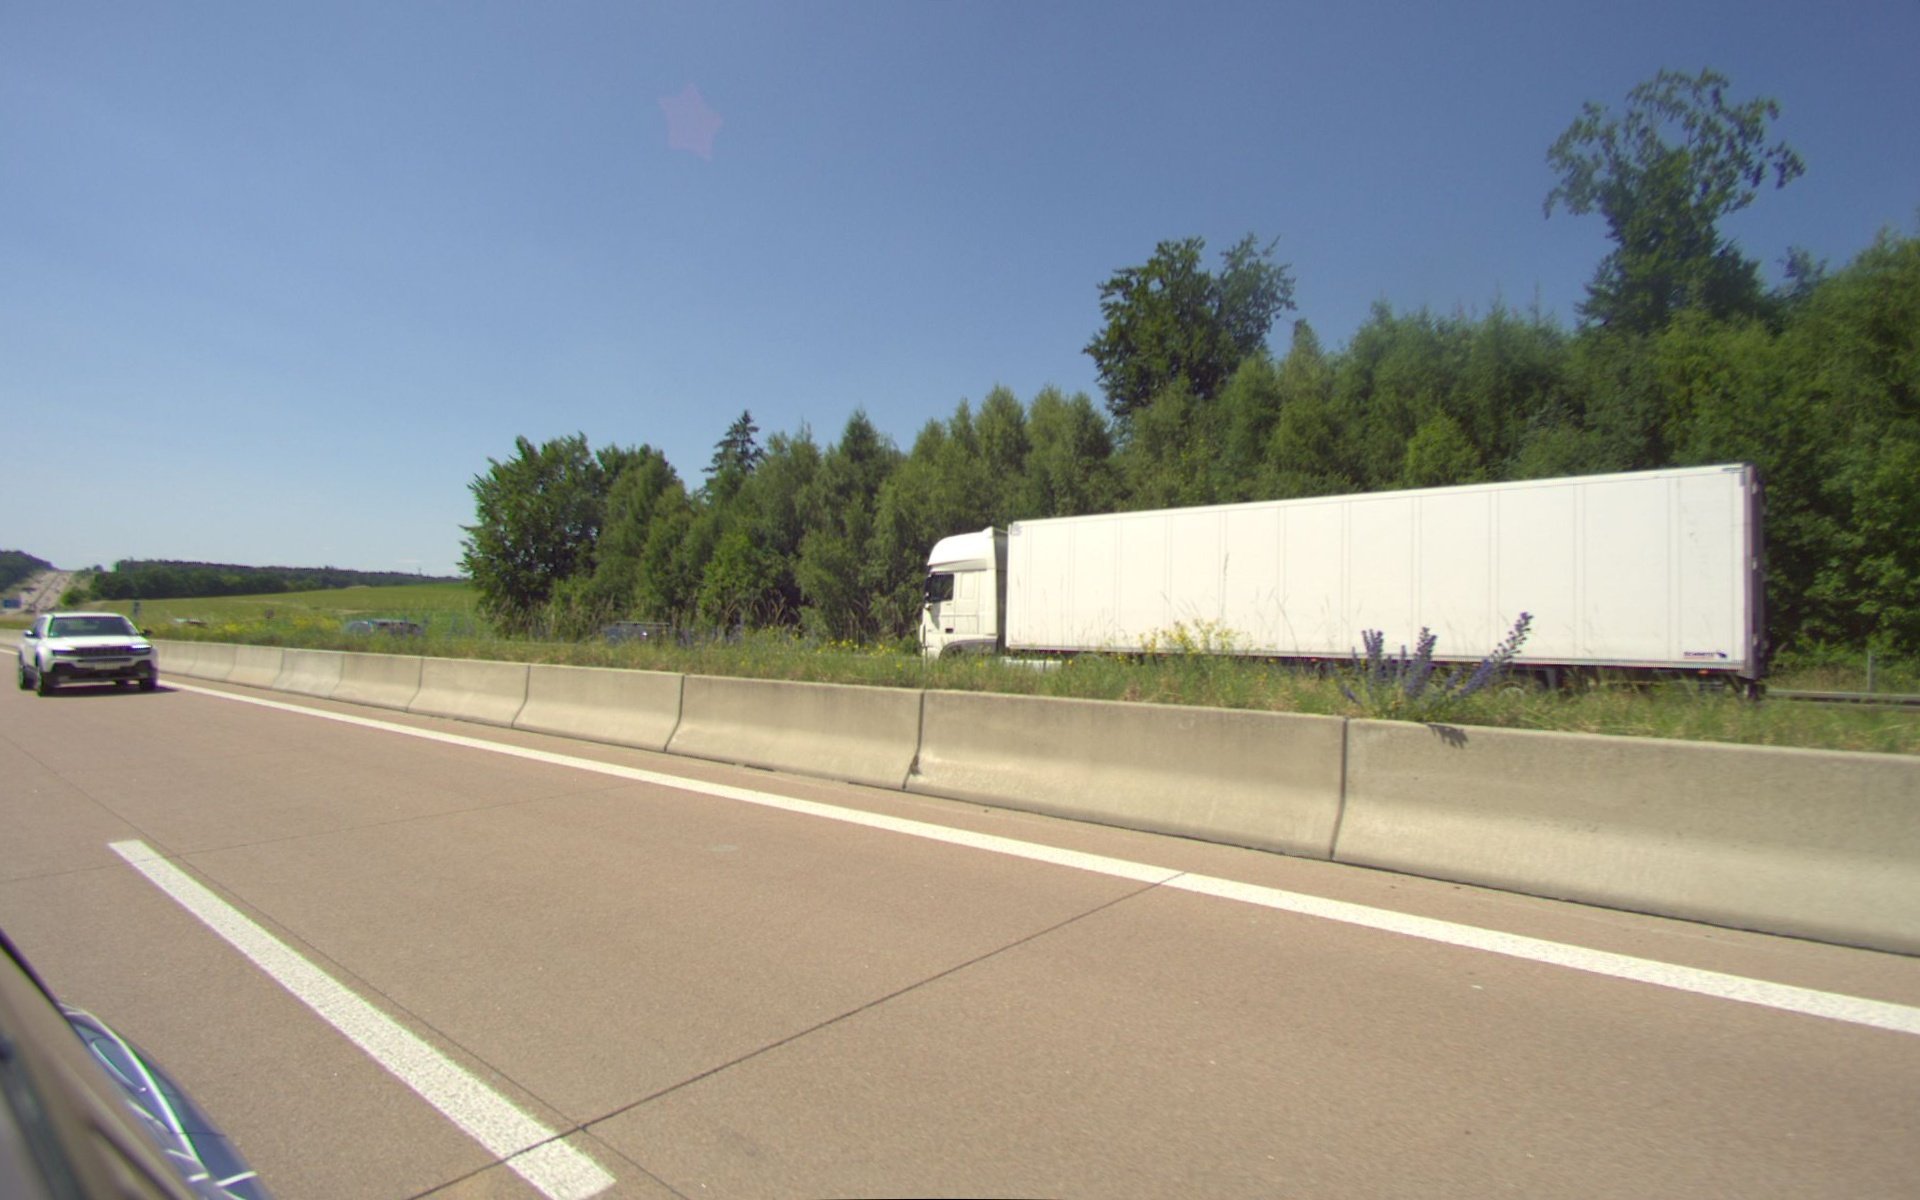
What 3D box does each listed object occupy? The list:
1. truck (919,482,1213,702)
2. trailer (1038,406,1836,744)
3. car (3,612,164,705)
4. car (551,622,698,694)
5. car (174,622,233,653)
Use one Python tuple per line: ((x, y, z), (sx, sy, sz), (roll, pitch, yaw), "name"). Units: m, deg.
((2.284, -0.102, 23.507), (6.477, 4.414, 2.674), (-1, -1, 42), "truck")
((7.481, -0.217, 18.813), (13.190, 4.468, 2.674), (-1, -1, 43), "trailer")
((-17.534, 1.074, 20.166), (4.833, 1.619, 1.859), (-1, -1, 42), "car")
((-9.026, 1.481, 27.099), (3.998, 1.741, 1.973), (-1, 0, 41), "car")
((-47.996, 2.348, 64.198), (5.098, 1.877, 1.872), (-1, -1, 40), "car")
